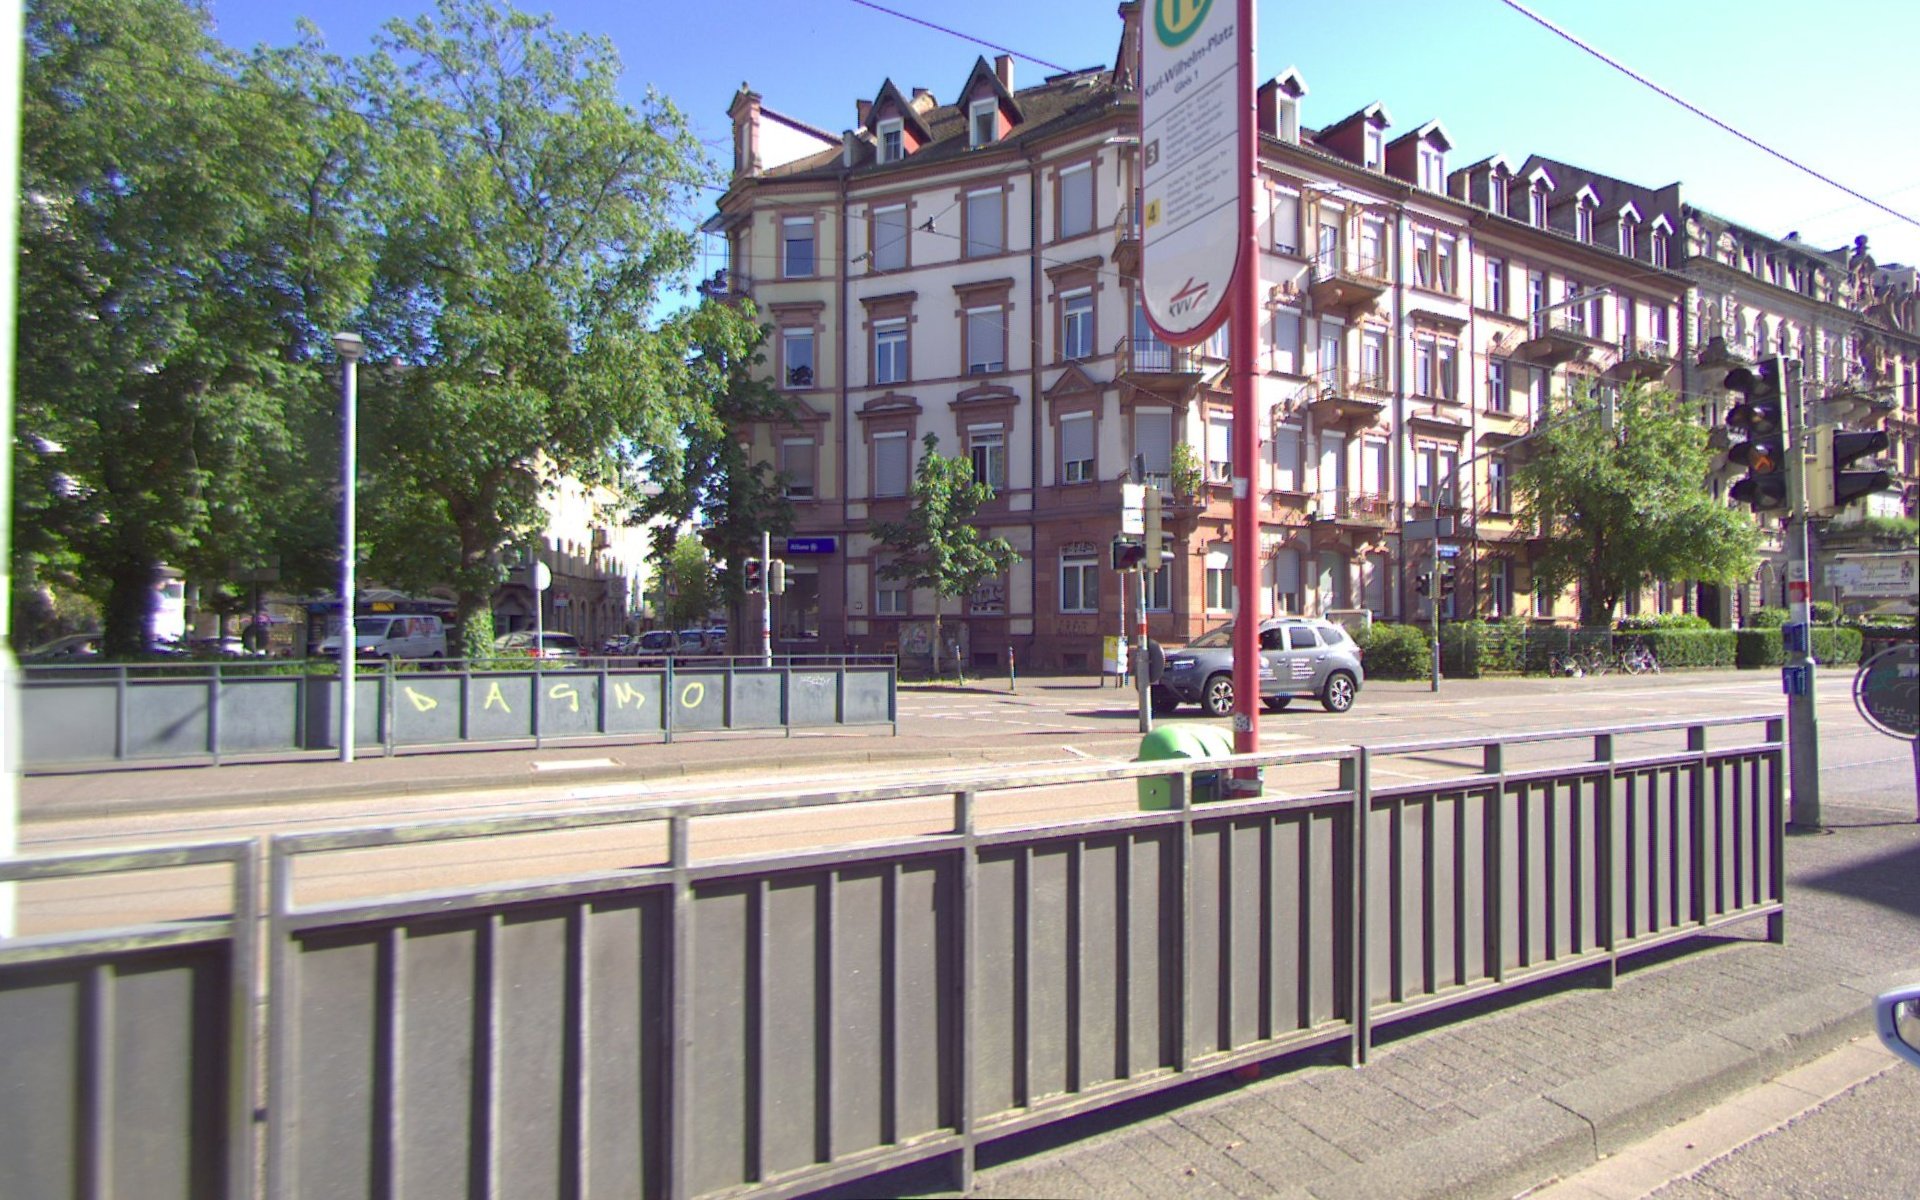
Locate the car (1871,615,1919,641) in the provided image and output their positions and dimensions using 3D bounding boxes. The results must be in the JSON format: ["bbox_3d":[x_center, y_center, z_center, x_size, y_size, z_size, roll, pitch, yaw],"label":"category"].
[{"bbox_3d":[62.839,1.834,65.726,1.941,1.665,4.431,1,-1,-26],"label":"car"}]

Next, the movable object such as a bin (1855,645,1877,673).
[{"bbox_3d":[36.660,2.388,40.642,0.534,1.100,0.477,1,0,-28],"label":"movable object such as a bin"}]

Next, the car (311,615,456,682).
[{"bbox_3d":[-18.515,1.484,32.554,1.887,1.968,4.857,1,0,0],"label":"car"}]

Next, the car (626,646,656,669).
[{"bbox_3d":[-25.059,4.471,79.045,1.534,1.623,3.454,1,0,-6],"label":"car"}]

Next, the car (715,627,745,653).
[{"bbox_3d":[-15.119,2.609,66.181,1.534,1.623,3.454,1,0,-6],"label":"car"}]

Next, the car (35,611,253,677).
[{"bbox_3d":[-20.975,1.159,26.001,1.709,1.562,4.010,-2,-4,30],"label":"car"}]

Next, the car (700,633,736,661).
[{"bbox_3d":[-13.657,2.615,56.868,1.534,1.429,3.454,1,0,-6],"label":"car"}]

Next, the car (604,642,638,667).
[{"bbox_3d":[-24.046,3.827,71.304,1.534,1.623,3.454,1,0,-6],"label":"car"}]

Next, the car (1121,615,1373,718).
[{"bbox_3d":[5.103,1.148,17.789,4.214,1.639,1.889,1,-4,-30],"label":"car"}]

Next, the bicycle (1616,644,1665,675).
[{"bbox_3d":[21.408,1.873,31.585,1.916,0.938,0.341,1,0,-25],"label":"bicycle"}]

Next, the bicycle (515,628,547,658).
[{"bbox_3d":[-15.400,1.527,36.077,0.563,1.006,1.548,1,0,-3],"label":"bicycle"}]

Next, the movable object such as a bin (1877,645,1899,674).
[{"bbox_3d":[37.018,2.371,40.064,0.534,1.100,0.477,1,0,-28],"label":"movable object such as a bin"}]

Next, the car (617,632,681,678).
[{"bbox_3d":[-12.058,2.099,39.150,1.682,1.623,3.454,1,0,-6],"label":"car"}]

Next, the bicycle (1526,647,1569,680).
[{"bbox_3d":[17.357,1.870,29.658,1.432,0.938,0.341,1,0,-25],"label":"bicycle"}]

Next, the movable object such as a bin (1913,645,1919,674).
[{"bbox_3d":[38.064,2.357,39.680,0.534,1.100,0.477,1,0,-28],"label":"movable object such as a bin"}]

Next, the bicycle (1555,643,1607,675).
[{"bbox_3d":[18.852,1.769,30.491,1.916,0.938,0.341,1,0,-25],"label":"bicycle"}]

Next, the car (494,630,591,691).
[{"bbox_3d":[-11.358,1.575,27.215,1.565,1.461,3.418,1,-1,-38],"label":"car"}]

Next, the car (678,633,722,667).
[{"bbox_3d":[-13.405,2.551,51.918,1.694,1.626,3.454,1,0,-6],"label":"car"}]

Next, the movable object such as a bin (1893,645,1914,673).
[{"bbox_3d":[37.768,2.347,40.215,0.534,1.100,0.477,1,0,-28],"label":"movable object such as a bin"}]
